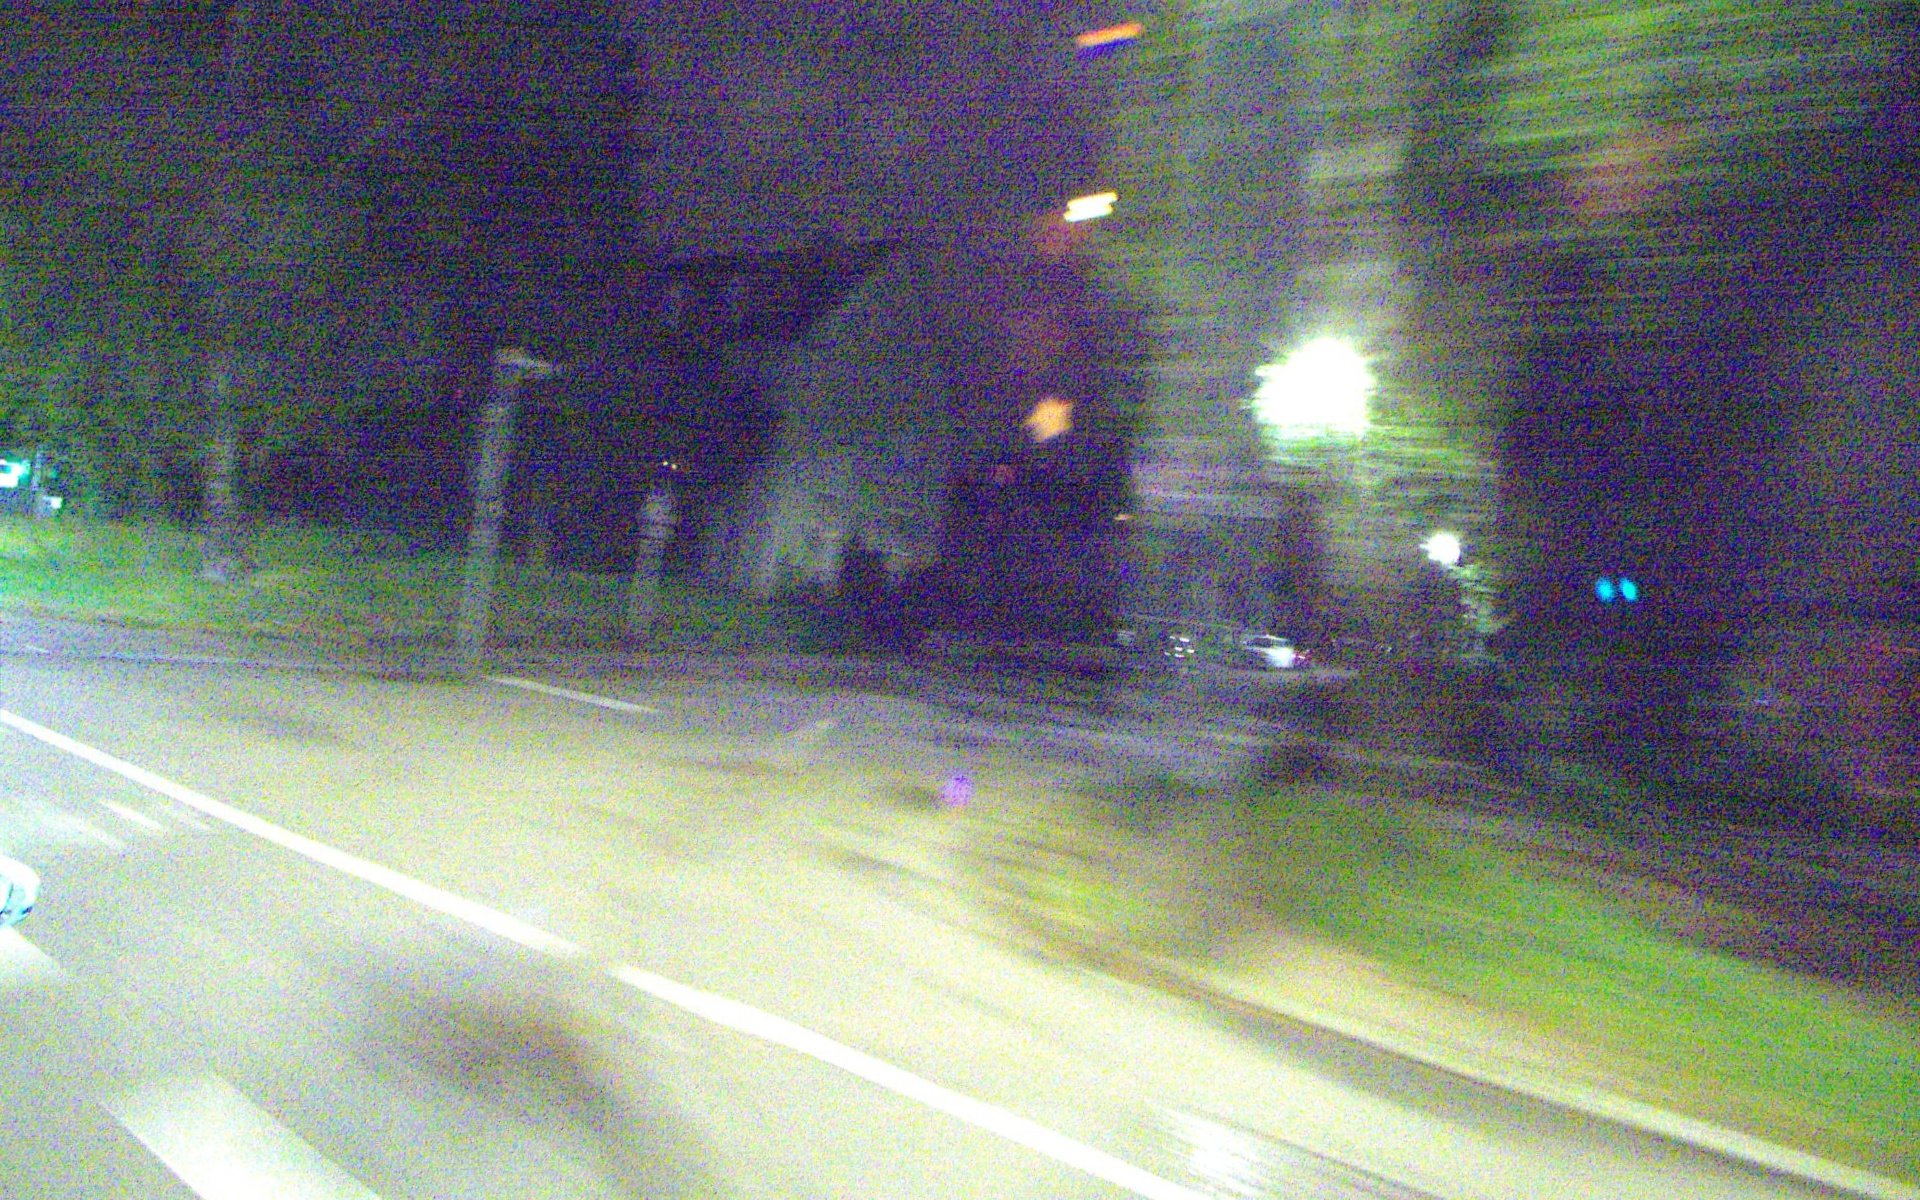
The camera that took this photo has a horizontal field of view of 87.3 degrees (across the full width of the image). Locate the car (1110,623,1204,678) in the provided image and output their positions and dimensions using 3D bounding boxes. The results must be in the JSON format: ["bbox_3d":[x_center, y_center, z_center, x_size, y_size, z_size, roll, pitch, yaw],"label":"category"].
[{"bbox_3d":[6.442,1.665,32.640,1.720,1.491,3.777,6,-1,31],"label":"car"}]

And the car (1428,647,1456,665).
[{"bbox_3d":[52.499,6.144,109.565,1.968,1.615,3.989,7,-1,35],"label":"car"}]

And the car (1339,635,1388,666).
[{"bbox_3d":[26.319,3.311,65.560,1.968,1.615,3.989,7,-1,35],"label":"car"}]

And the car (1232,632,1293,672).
[{"bbox_3d":[13.494,2.329,44.695,1.818,1.448,3.996,7,0,26],"label":"car"}]
